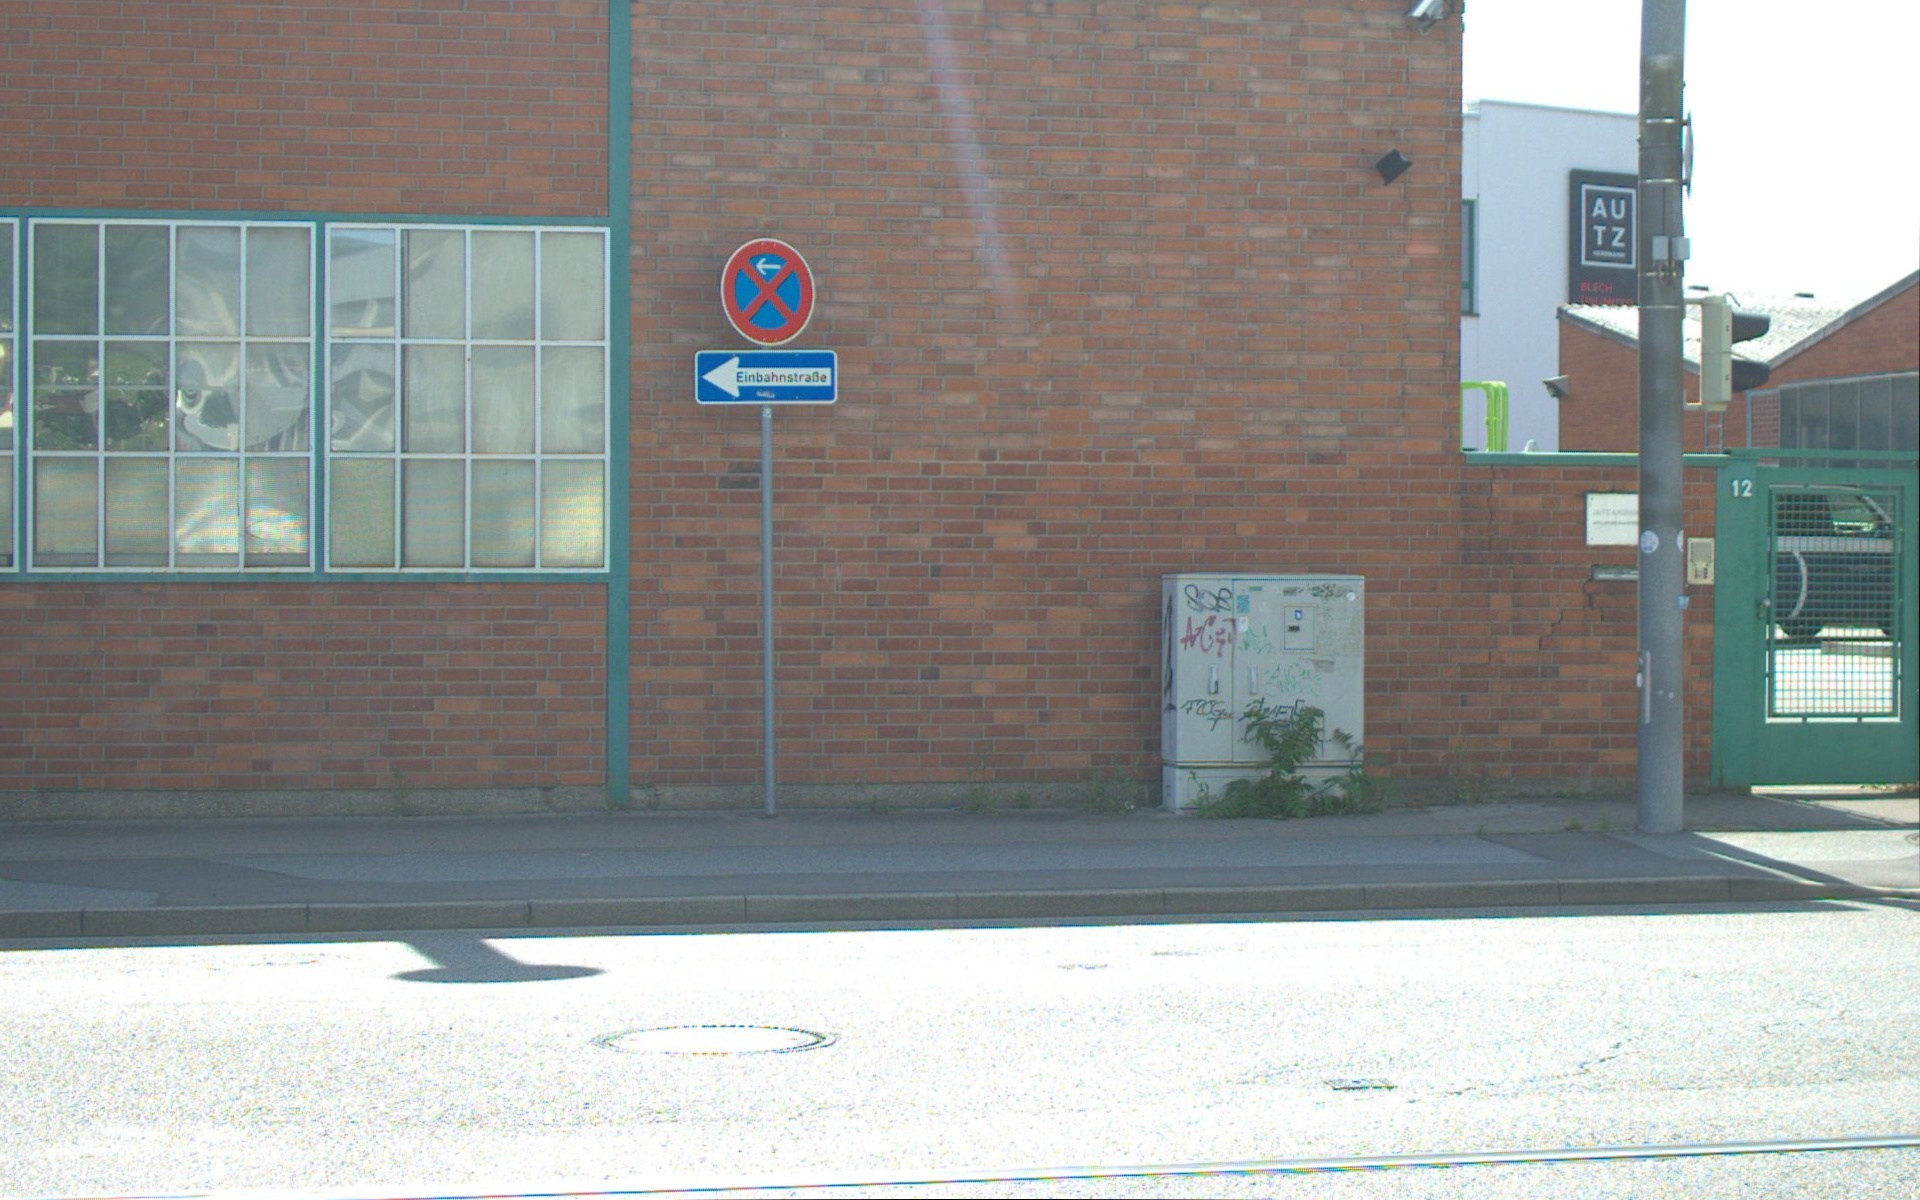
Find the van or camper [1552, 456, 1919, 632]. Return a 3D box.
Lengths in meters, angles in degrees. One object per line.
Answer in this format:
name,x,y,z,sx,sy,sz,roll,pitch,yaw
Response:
van or camper,9.387,-0.641,40.824,4.407,1.894,2.000,2,0,-34
